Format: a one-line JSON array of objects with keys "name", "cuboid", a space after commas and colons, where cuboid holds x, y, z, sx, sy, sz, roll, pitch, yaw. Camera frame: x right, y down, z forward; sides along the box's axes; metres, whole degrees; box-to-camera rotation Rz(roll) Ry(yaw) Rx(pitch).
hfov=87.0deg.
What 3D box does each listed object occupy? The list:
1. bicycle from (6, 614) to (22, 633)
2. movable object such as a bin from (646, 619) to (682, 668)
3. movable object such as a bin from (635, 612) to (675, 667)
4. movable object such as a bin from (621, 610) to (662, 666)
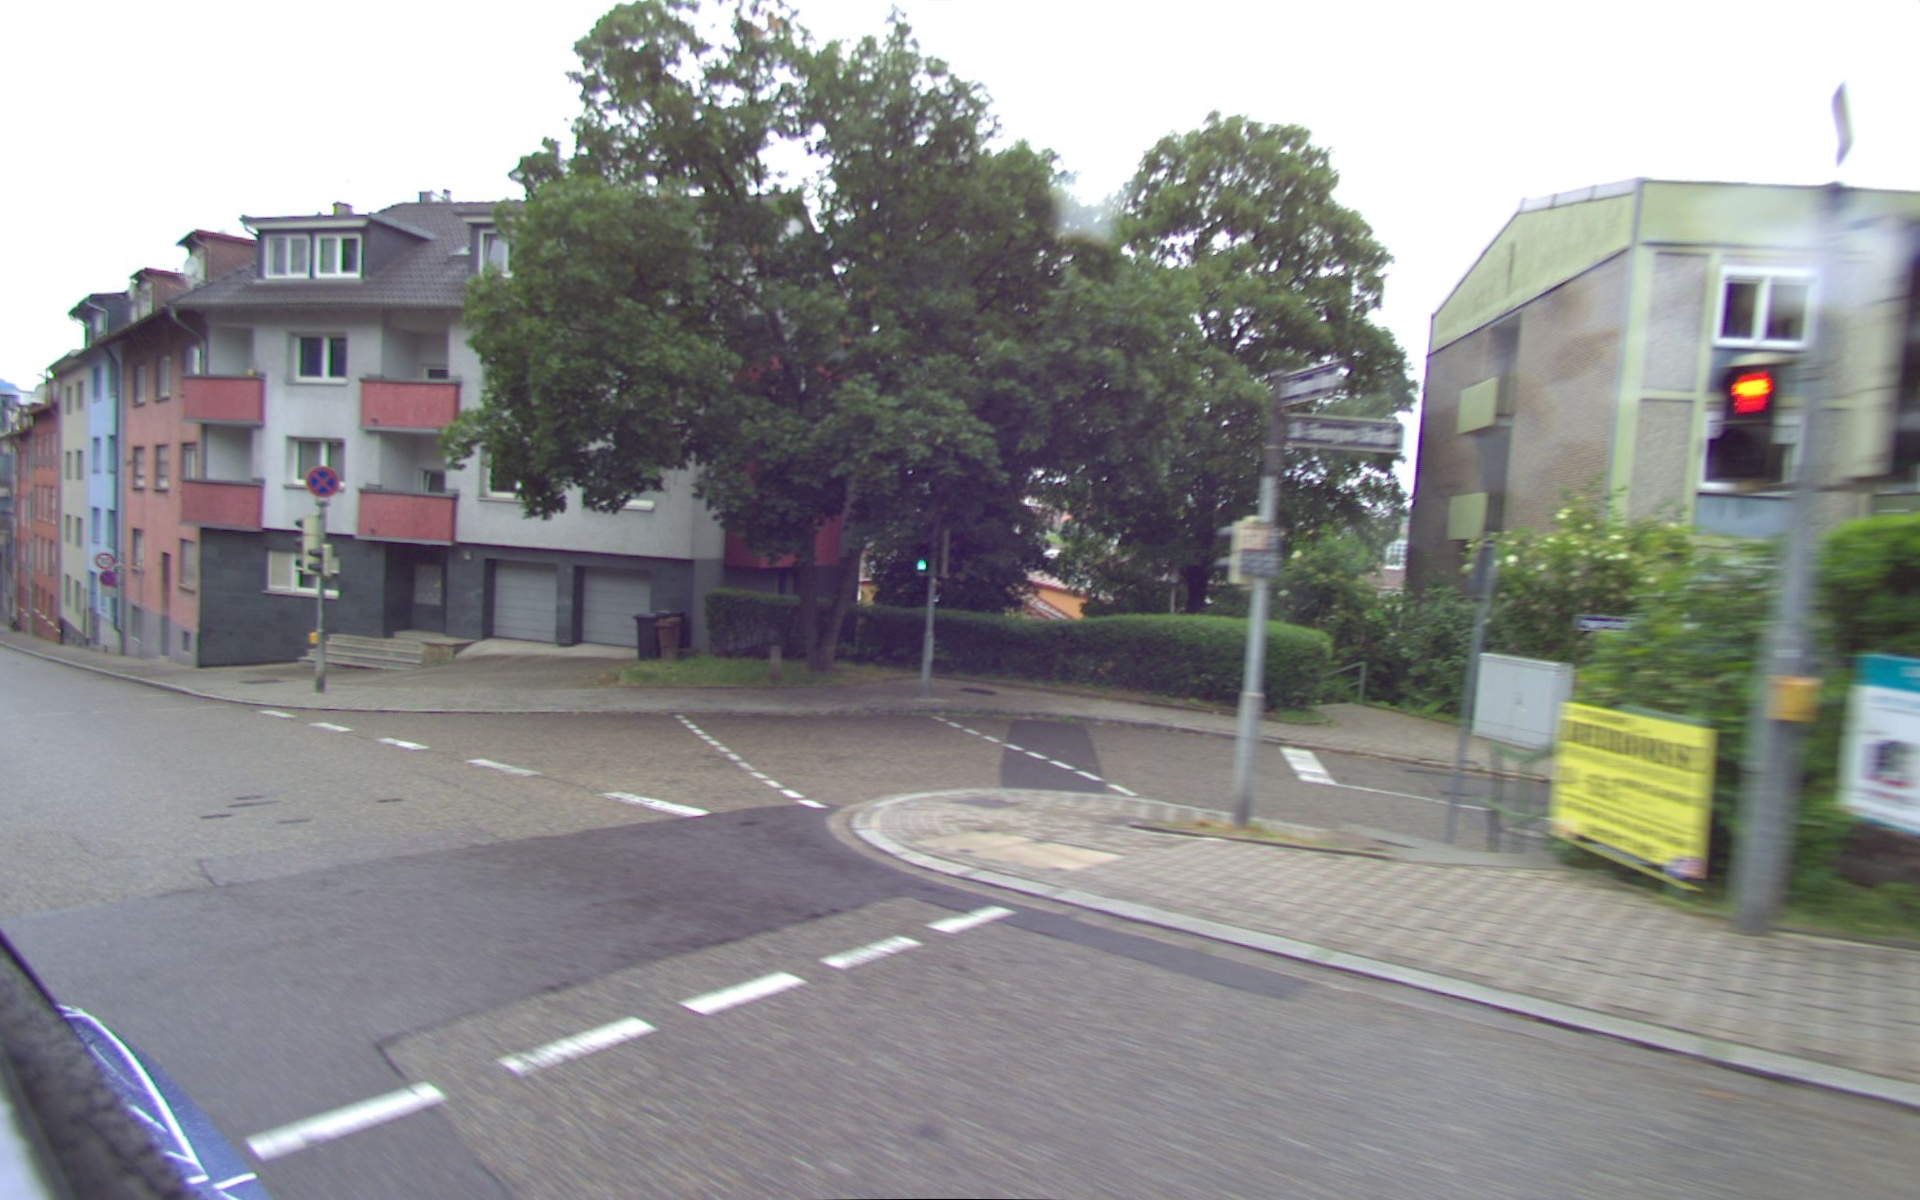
[{"name": "bicycle", "cuboid": [-59.100, 1.465, 63.222, 2.040, 1.125, 0.565, 1, 3, 43]}, {"name": "movable object such as a bin", "cuboid": [-6.527, 0.946, 22.300, 0.496, 1.023, 0.626, 0, 2, 17]}, {"name": "movable object such as a bin", "cuboid": [-6.963, 0.899, 23.139, 0.683, 1.209, 0.558, 0, 2, 17]}, {"name": "movable object such as a bin", "cuboid": [-7.104, 0.839, 22.570, 0.683, 1.209, 0.558, 0, 2, 17]}]
